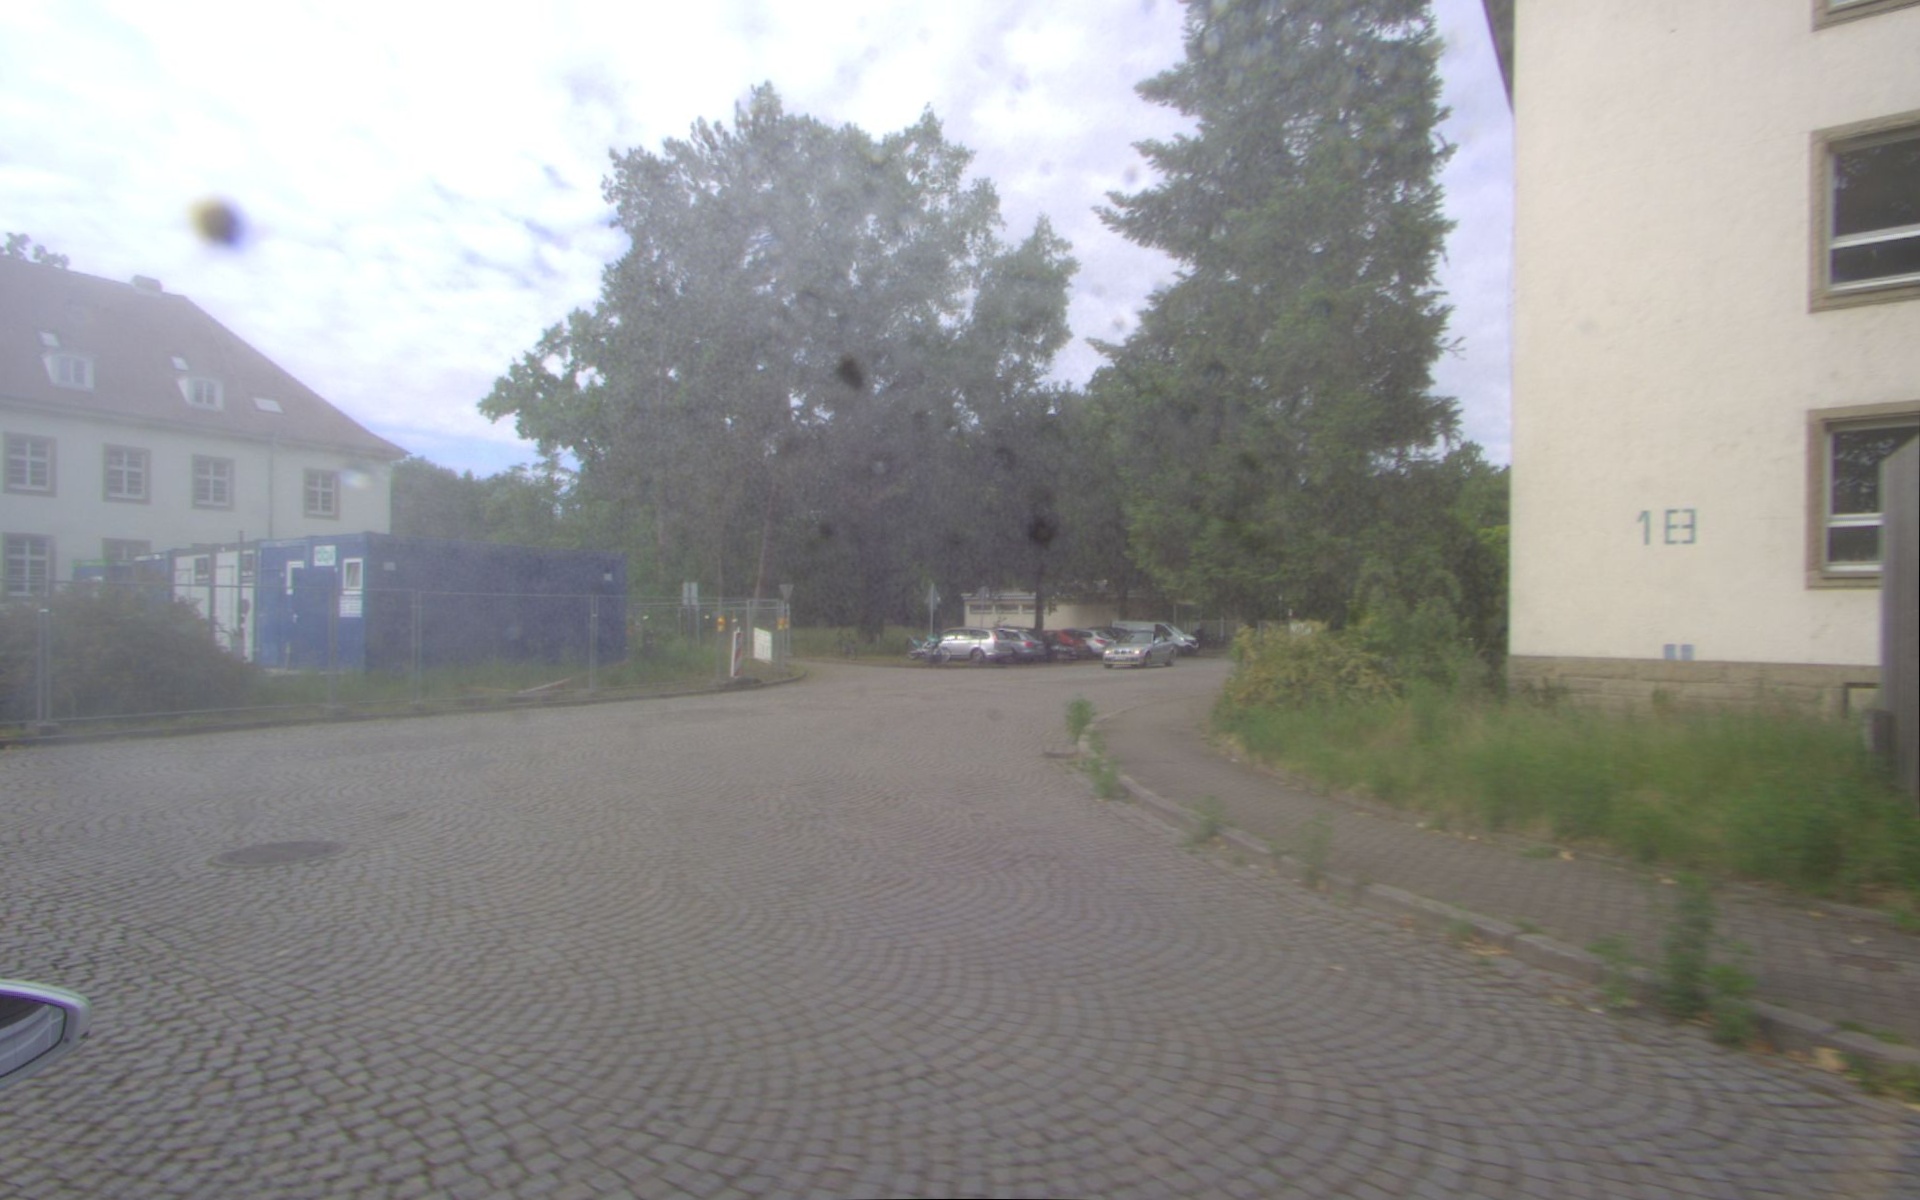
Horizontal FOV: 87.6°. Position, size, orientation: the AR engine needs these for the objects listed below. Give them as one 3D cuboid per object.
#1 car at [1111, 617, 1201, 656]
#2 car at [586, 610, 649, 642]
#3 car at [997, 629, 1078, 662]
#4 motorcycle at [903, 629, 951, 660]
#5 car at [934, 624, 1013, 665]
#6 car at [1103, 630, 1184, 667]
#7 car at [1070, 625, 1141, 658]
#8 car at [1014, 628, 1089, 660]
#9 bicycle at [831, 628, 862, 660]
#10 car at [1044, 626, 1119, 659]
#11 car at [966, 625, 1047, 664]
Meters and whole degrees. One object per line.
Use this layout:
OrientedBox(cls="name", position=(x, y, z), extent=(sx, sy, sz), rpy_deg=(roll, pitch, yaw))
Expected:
OrientedBox(cls="car", position=(11.517, 2.111, 58.902), extent=(4.889, 2.017, 1.688), rpy_deg=(2, 0, 35))
OrientedBox(cls="car", position=(-17.489, 1.304, 51.272), extent=(1.589, 1.506, 3.988), rpy_deg=(1, -1, 4))
OrientedBox(cls="car", position=(3.541, 2.060, 45.856), extent=(3.312, 1.338, 1.636), rpy_deg=(2, 0, 27))
OrientedBox(cls="motorcycle", position=(-1.317, 1.774, 40.123), extent=(1.935, 1.180, 0.516), rpy_deg=(0, -1, 30))
OrientedBox(cls="car", position=(0.555, 1.845, 41.735), extent=(2.976, 1.507, 1.318), rpy_deg=(2, 0, 26))
OrientedBox(cls="car", position=(7.074, 1.836, 38.365), extent=(1.584, 1.363, 4.273), rpy_deg=(-2, -3, 32))
OrientedBox(cls="car", position=(7.607, 2.170, 52.393), extent=(3.315, 1.533, 1.559), rpy_deg=(2, 0, 31))
OrientedBox(cls="car", position=(4.434, 2.120, 48.556), extent=(3.319, 1.379, 1.440), rpy_deg=(2, 0, 34))
OrientedBox(cls="bicycle", position=(-4.424, 1.702, 38.884), extent=(0.508, 1.182, 1.794), rpy_deg=(1, -1, -31))
OrientedBox(cls="car", position=(6.046, 2.093, 49.909), extent=(3.312, 1.462, 1.560), rpy_deg=(2, 0, 27))
OrientedBox(cls="car", position=(2.027, 1.914, 43.518), extent=(3.170, 1.466, 1.385), rpy_deg=(2, 0, 27))
